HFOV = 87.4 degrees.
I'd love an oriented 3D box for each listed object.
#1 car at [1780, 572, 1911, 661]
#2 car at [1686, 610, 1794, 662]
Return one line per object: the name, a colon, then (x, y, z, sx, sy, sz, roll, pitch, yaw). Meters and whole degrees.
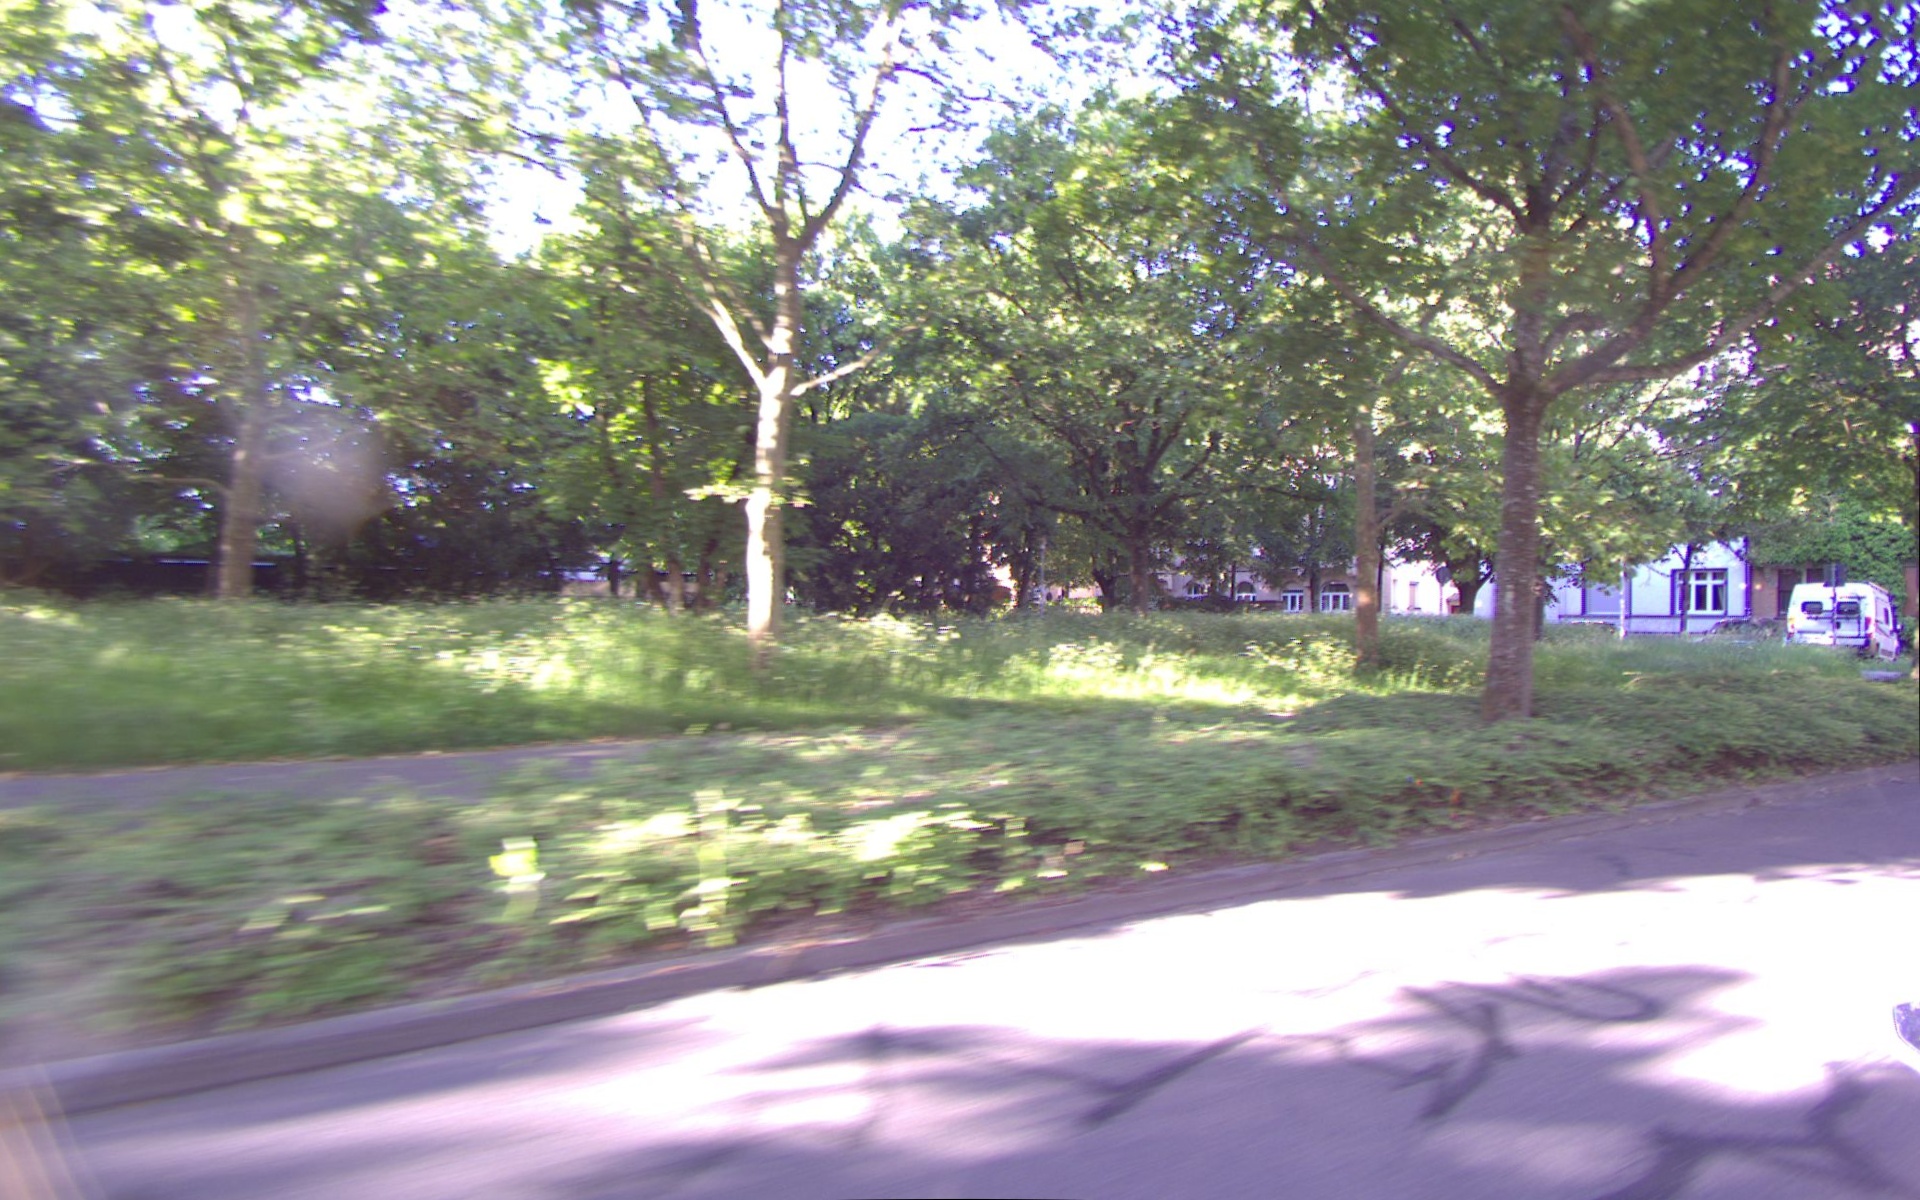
car: (28.510, 0.531, 32.276, 5.583, 2.649, 2.214, 2, 0, -39)
car: (26.485, 1.206, 34.076, 4.263, 1.596, 1.956, 2, 0, -39)
